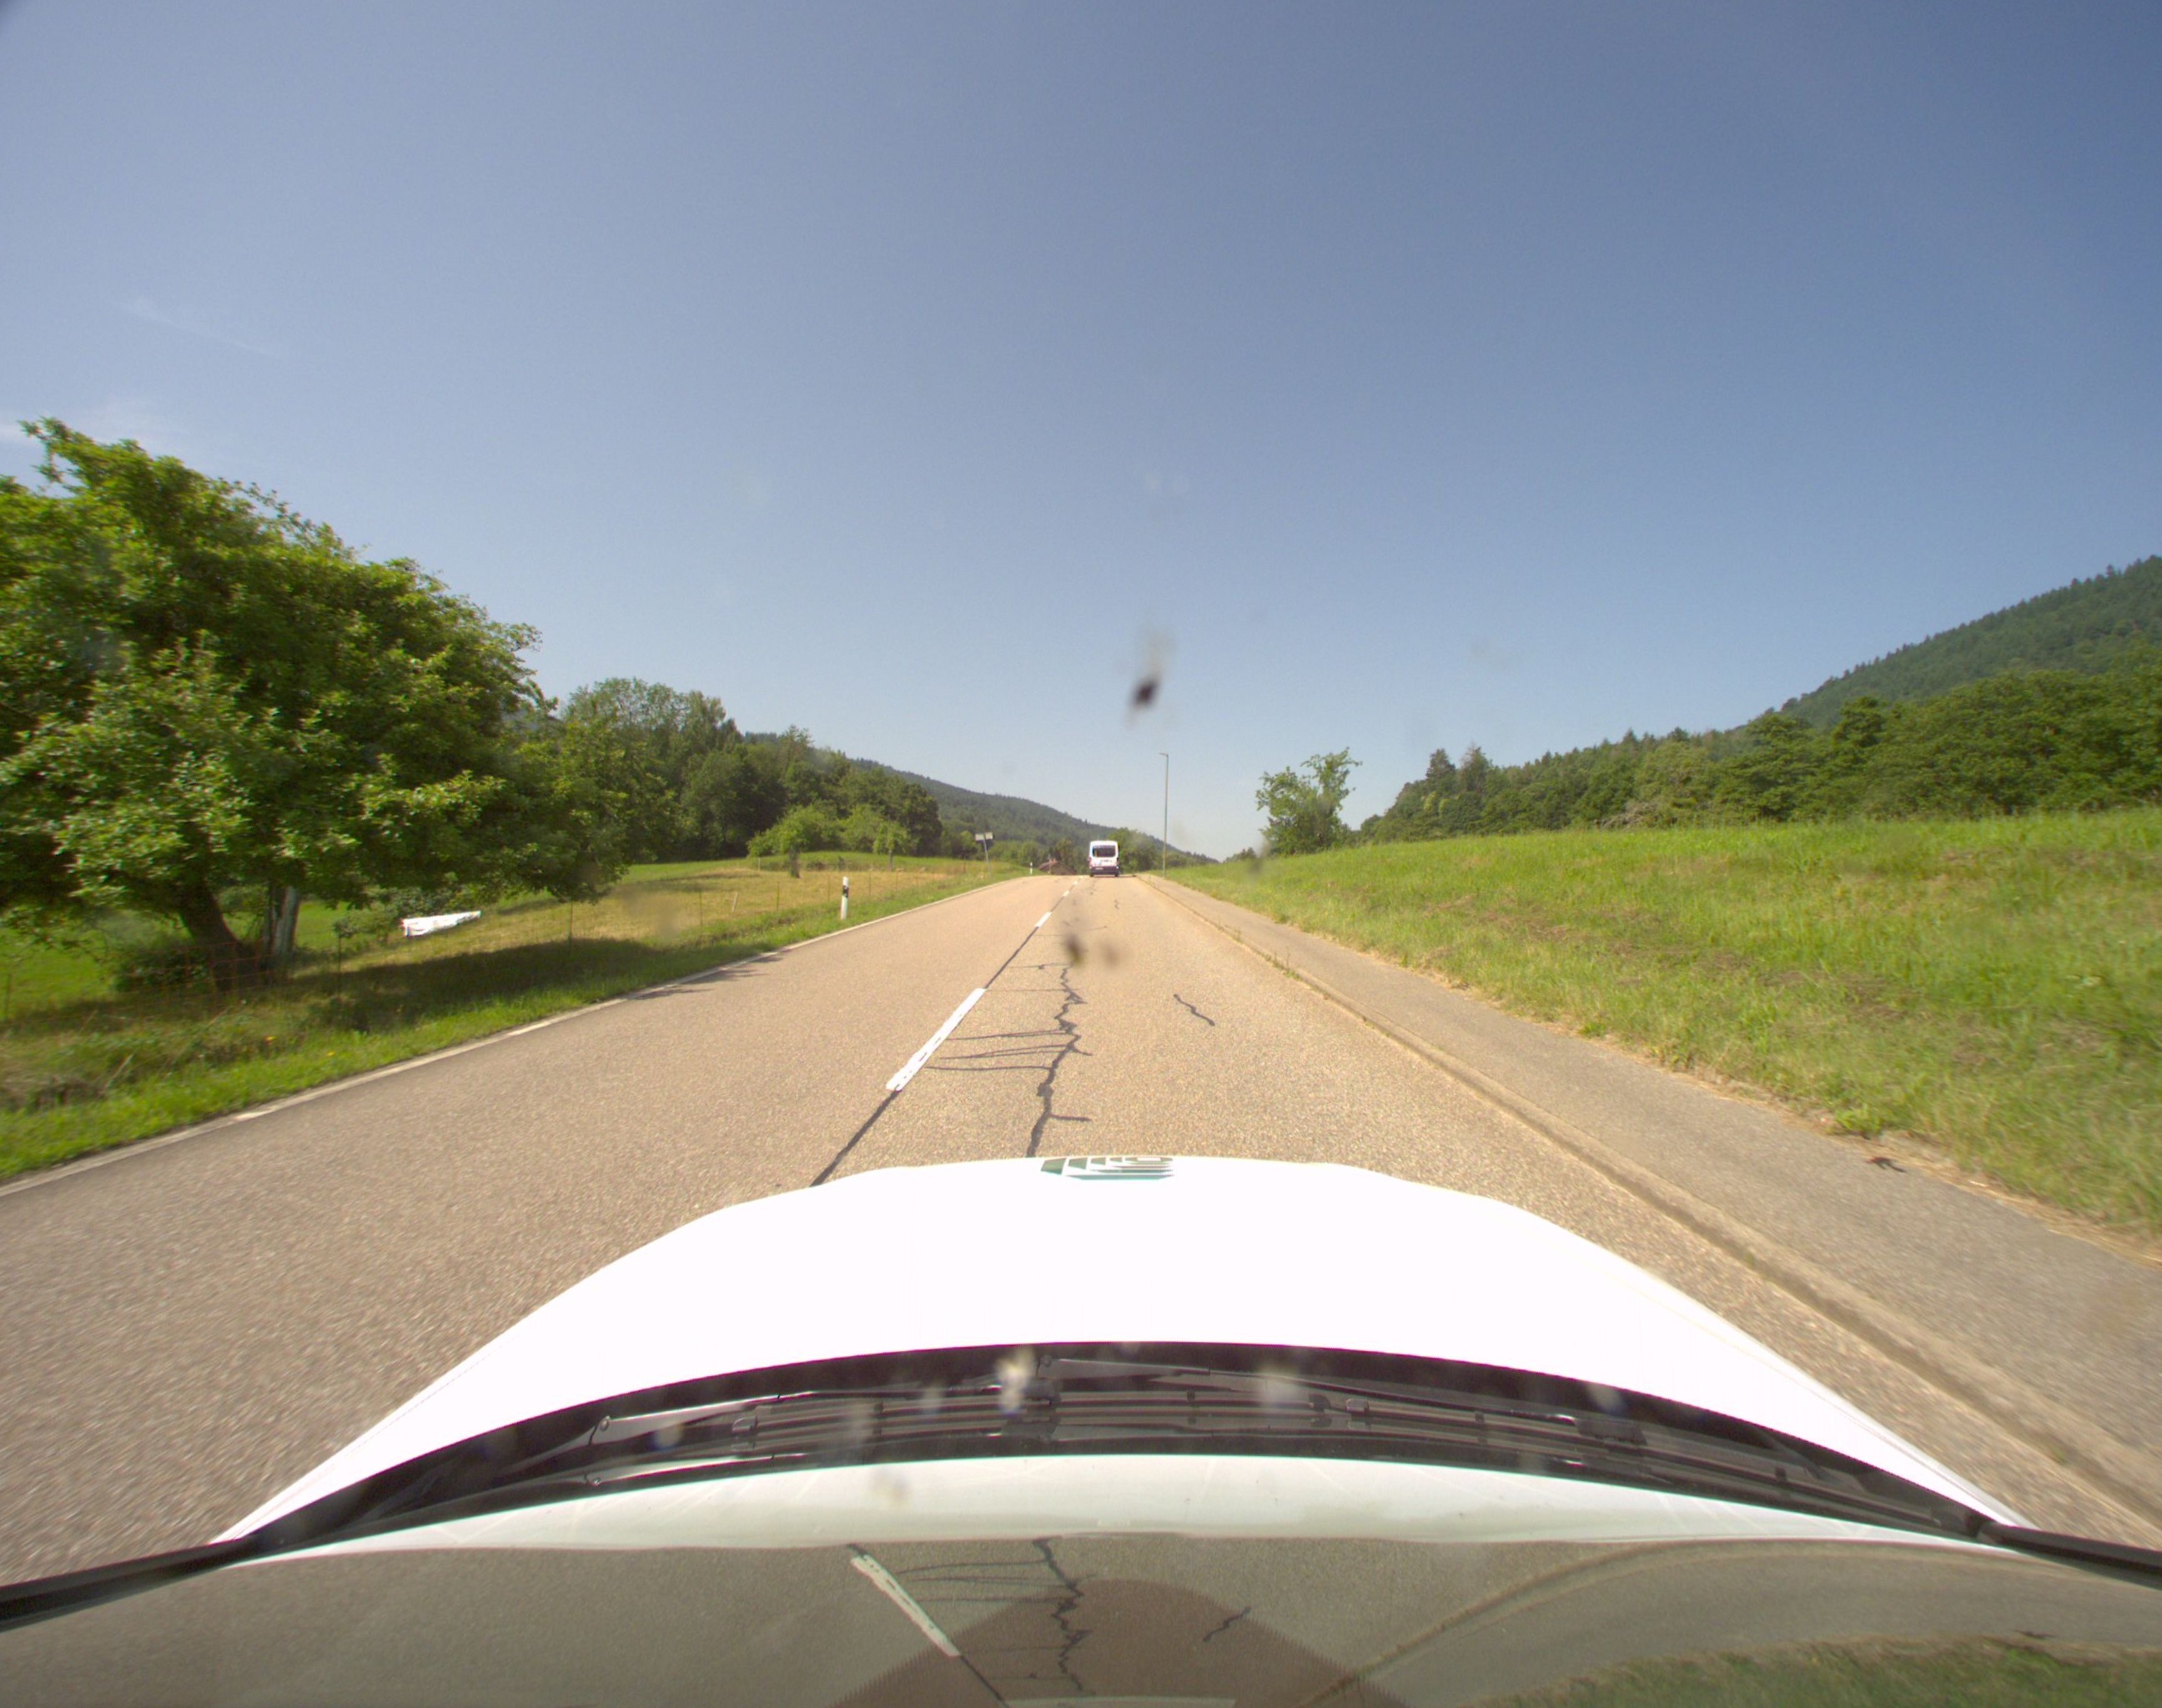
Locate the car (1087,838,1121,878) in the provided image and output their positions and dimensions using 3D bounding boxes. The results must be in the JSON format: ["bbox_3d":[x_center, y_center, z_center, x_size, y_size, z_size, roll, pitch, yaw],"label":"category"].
[{"bbox_3d":[1.605,0.309,56.832,2.214,2.526,4.984,-2,-3,1],"label":"car"}]
